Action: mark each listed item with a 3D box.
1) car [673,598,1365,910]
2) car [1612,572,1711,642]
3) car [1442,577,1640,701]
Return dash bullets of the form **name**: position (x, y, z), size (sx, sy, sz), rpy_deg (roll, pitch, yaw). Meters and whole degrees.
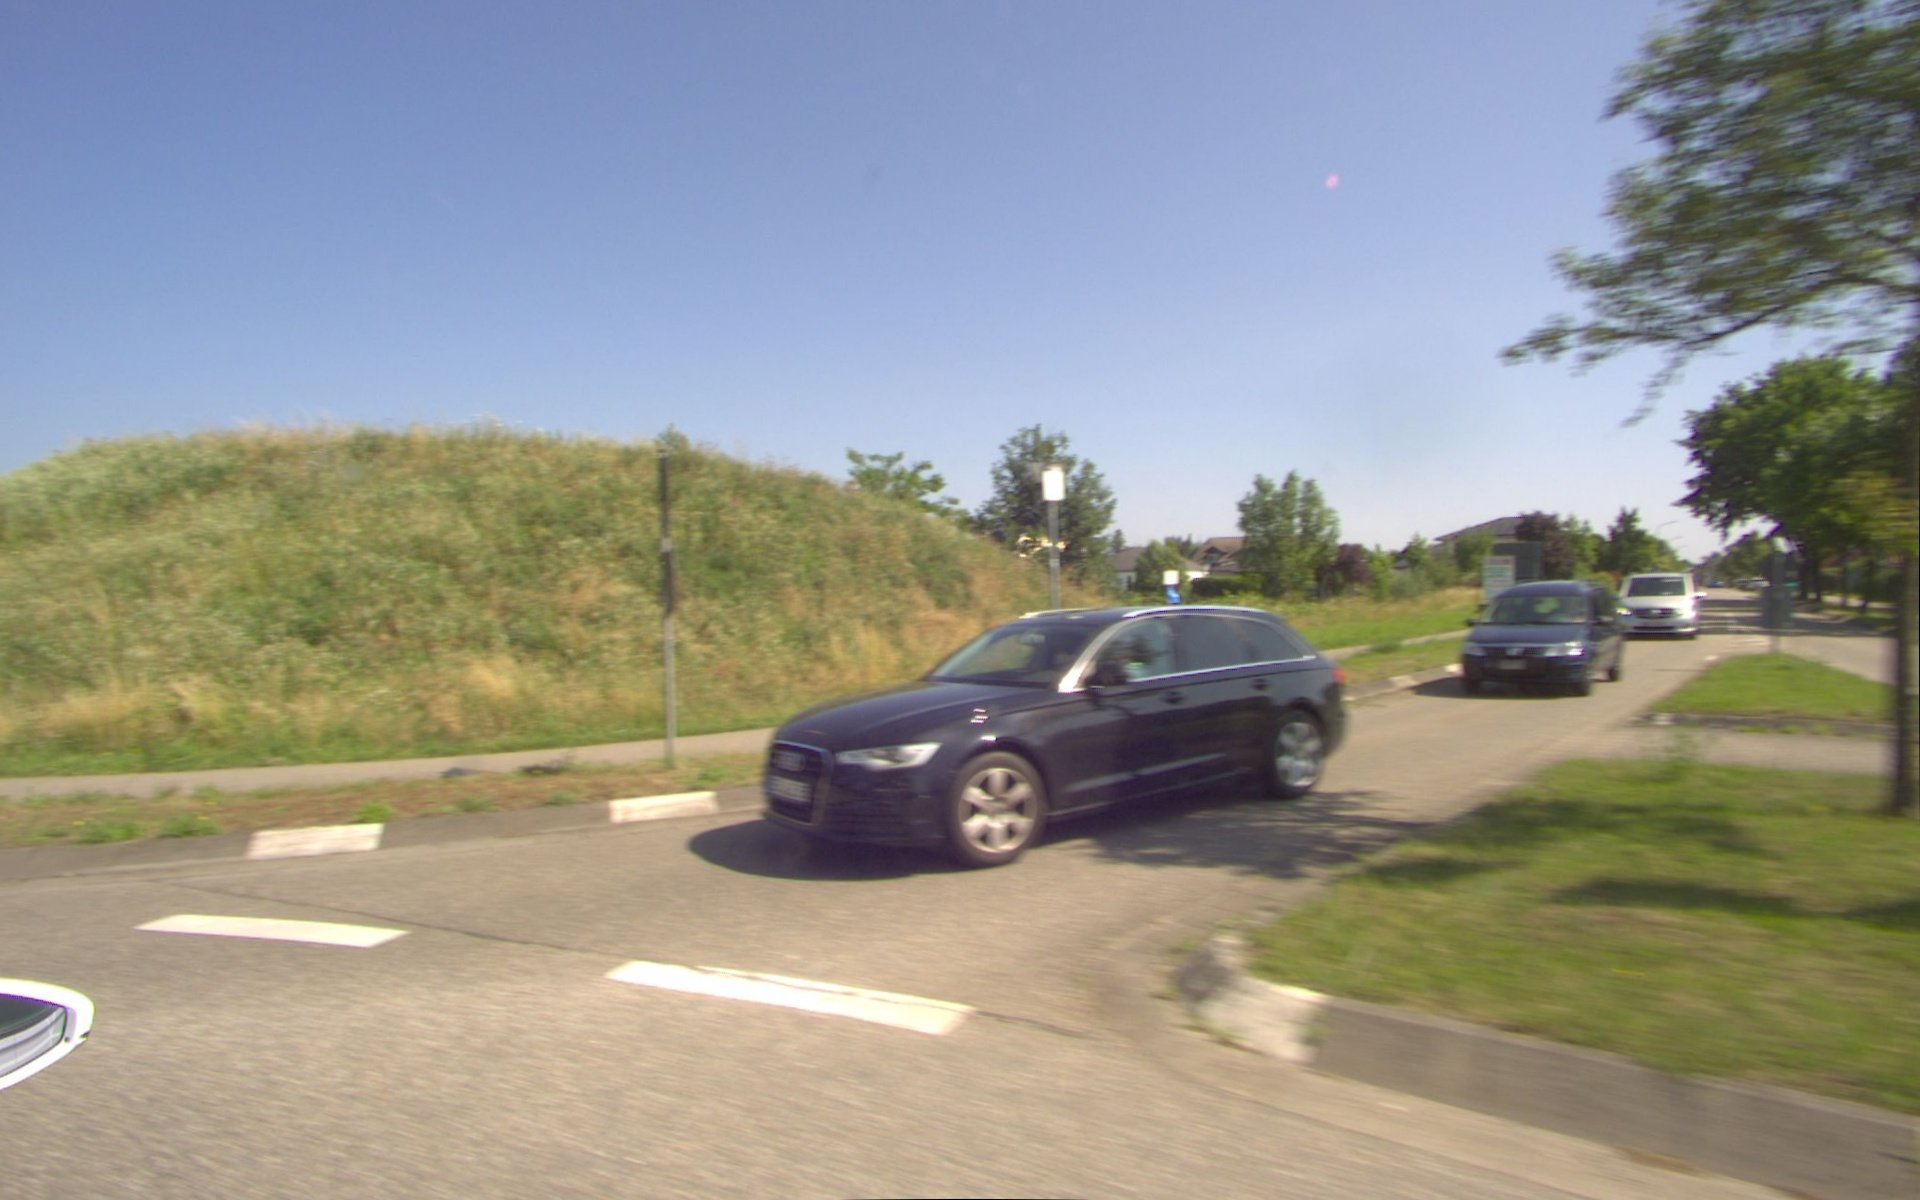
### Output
- **car**: position (0.666, 0.780, 7.150), size (4.852, 1.453, 1.910), rpy_deg (-1, -1, -37)
- **car**: position (20.406, 0.128, 29.030), size (1.975, 1.841, 5.161), rpy_deg (1, 2, 39)
- **car**: position (9.245, 0.542, 15.745), size (1.796, 1.661, 4.616), rpy_deg (-3, -2, 41)
